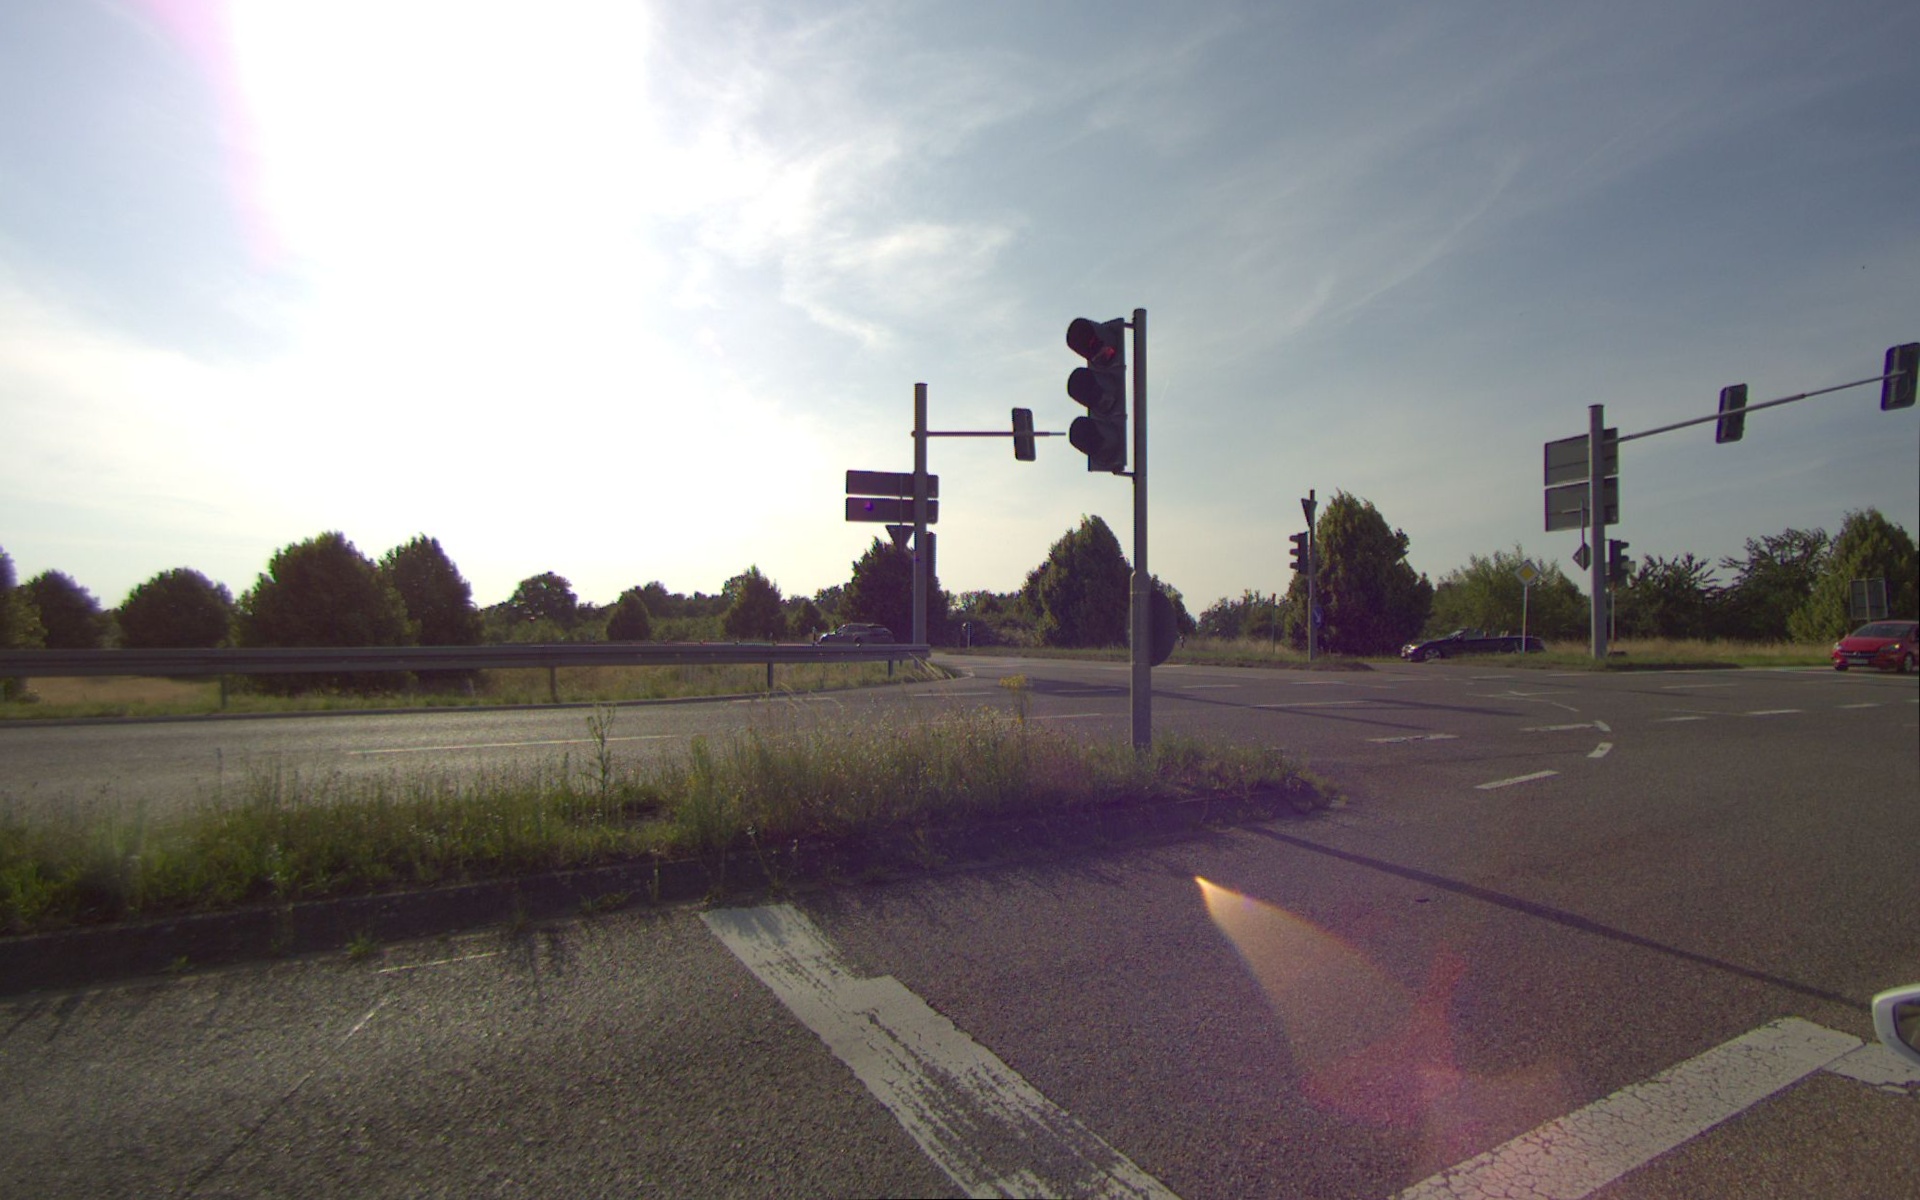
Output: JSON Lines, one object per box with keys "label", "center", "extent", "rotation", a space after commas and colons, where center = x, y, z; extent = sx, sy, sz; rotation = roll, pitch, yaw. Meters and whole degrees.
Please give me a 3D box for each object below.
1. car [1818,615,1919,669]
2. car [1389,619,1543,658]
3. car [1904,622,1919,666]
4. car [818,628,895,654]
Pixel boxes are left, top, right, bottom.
{"label": "car", "center": [27.197, 1.213, 29.462], "extent": [3.752, 1.508, 1.716], "rotation": [1, -1, -25]}
{"label": "car", "center": [17.932, 1.368, 35.755], "extent": [4.569, 1.299, 1.727], "rotation": [0, -1, 8]}
{"label": "car", "center": [33.108, 1.458, 32.994], "extent": [3.997, 1.452, 1.780], "rotation": [1, -1, -26]}
{"label": "car", "center": [-5.590, 2.172, 53.787], "extent": [4.606, 1.309, 1.433], "rotation": [-1, -2, 43]}
